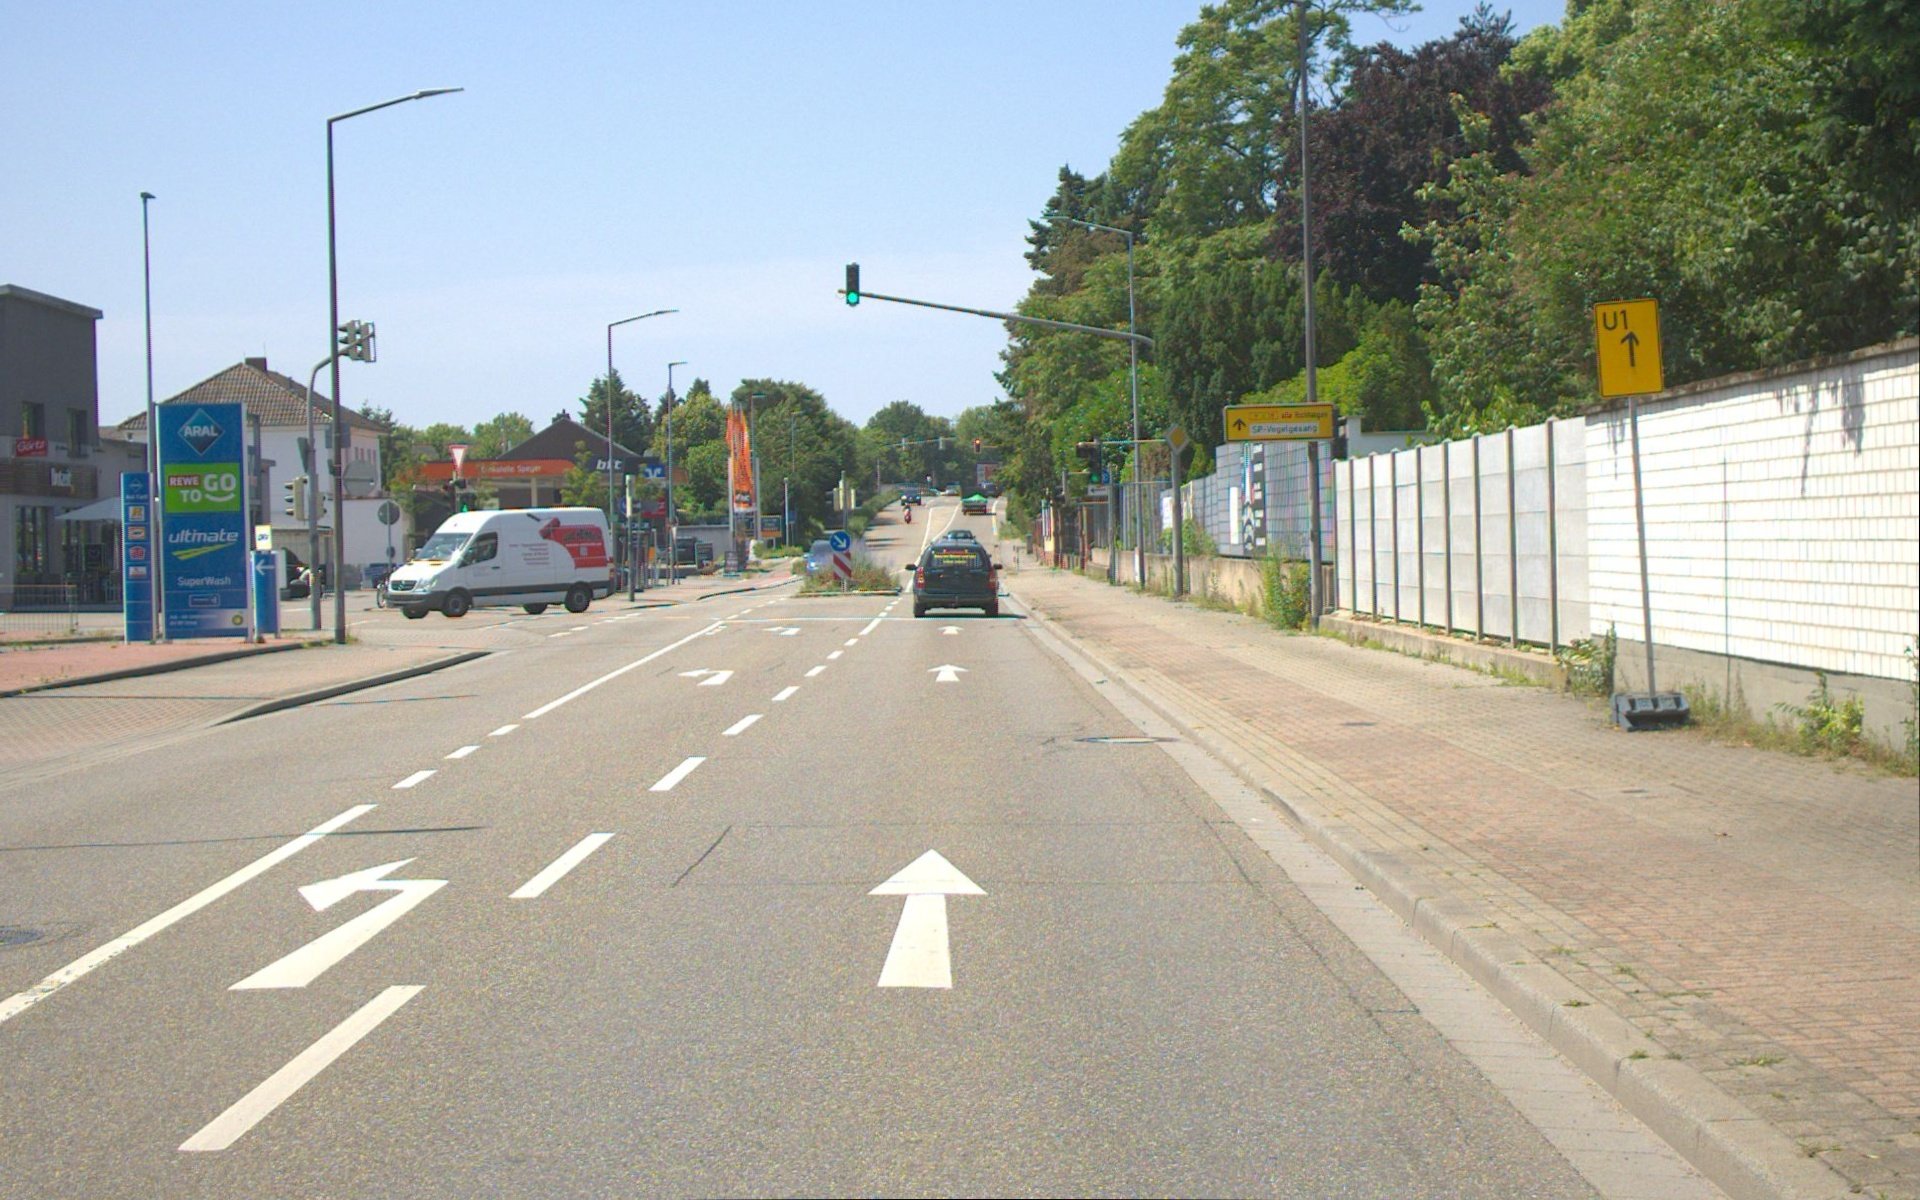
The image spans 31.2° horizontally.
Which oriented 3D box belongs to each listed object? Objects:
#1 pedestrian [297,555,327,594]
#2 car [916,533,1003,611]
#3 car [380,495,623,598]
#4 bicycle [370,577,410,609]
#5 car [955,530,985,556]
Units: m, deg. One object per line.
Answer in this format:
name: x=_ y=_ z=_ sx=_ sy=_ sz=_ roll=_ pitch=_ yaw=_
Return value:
pedestrian: x=-21.234 y=-0.830 z=112.627 sx=0.613 sy=1.256 sz=0.755 roll=-1 pitch=1 yaw=27
car: x=-0.012 y=-0.577 z=68.404 sx=1.665 sy=1.450 sz=3.472 roll=-1 pitch=1 yaw=0
car: x=-11.228 y=-1.285 z=84.501 sx=1.999 sy=2.414 sz=5.932 roll=0 pitch=0 yaw=45
bicycle: x=-14.911 y=-0.191 z=89.909 sx=0.612 sy=0.790 sz=2.575 roll=-1 pitch=1 yaw=0
car: x=0.576 y=-3.326 z=200.127 sx=1.665 sy=1.450 sz=3.472 roll=-1 pitch=1 yaw=0
